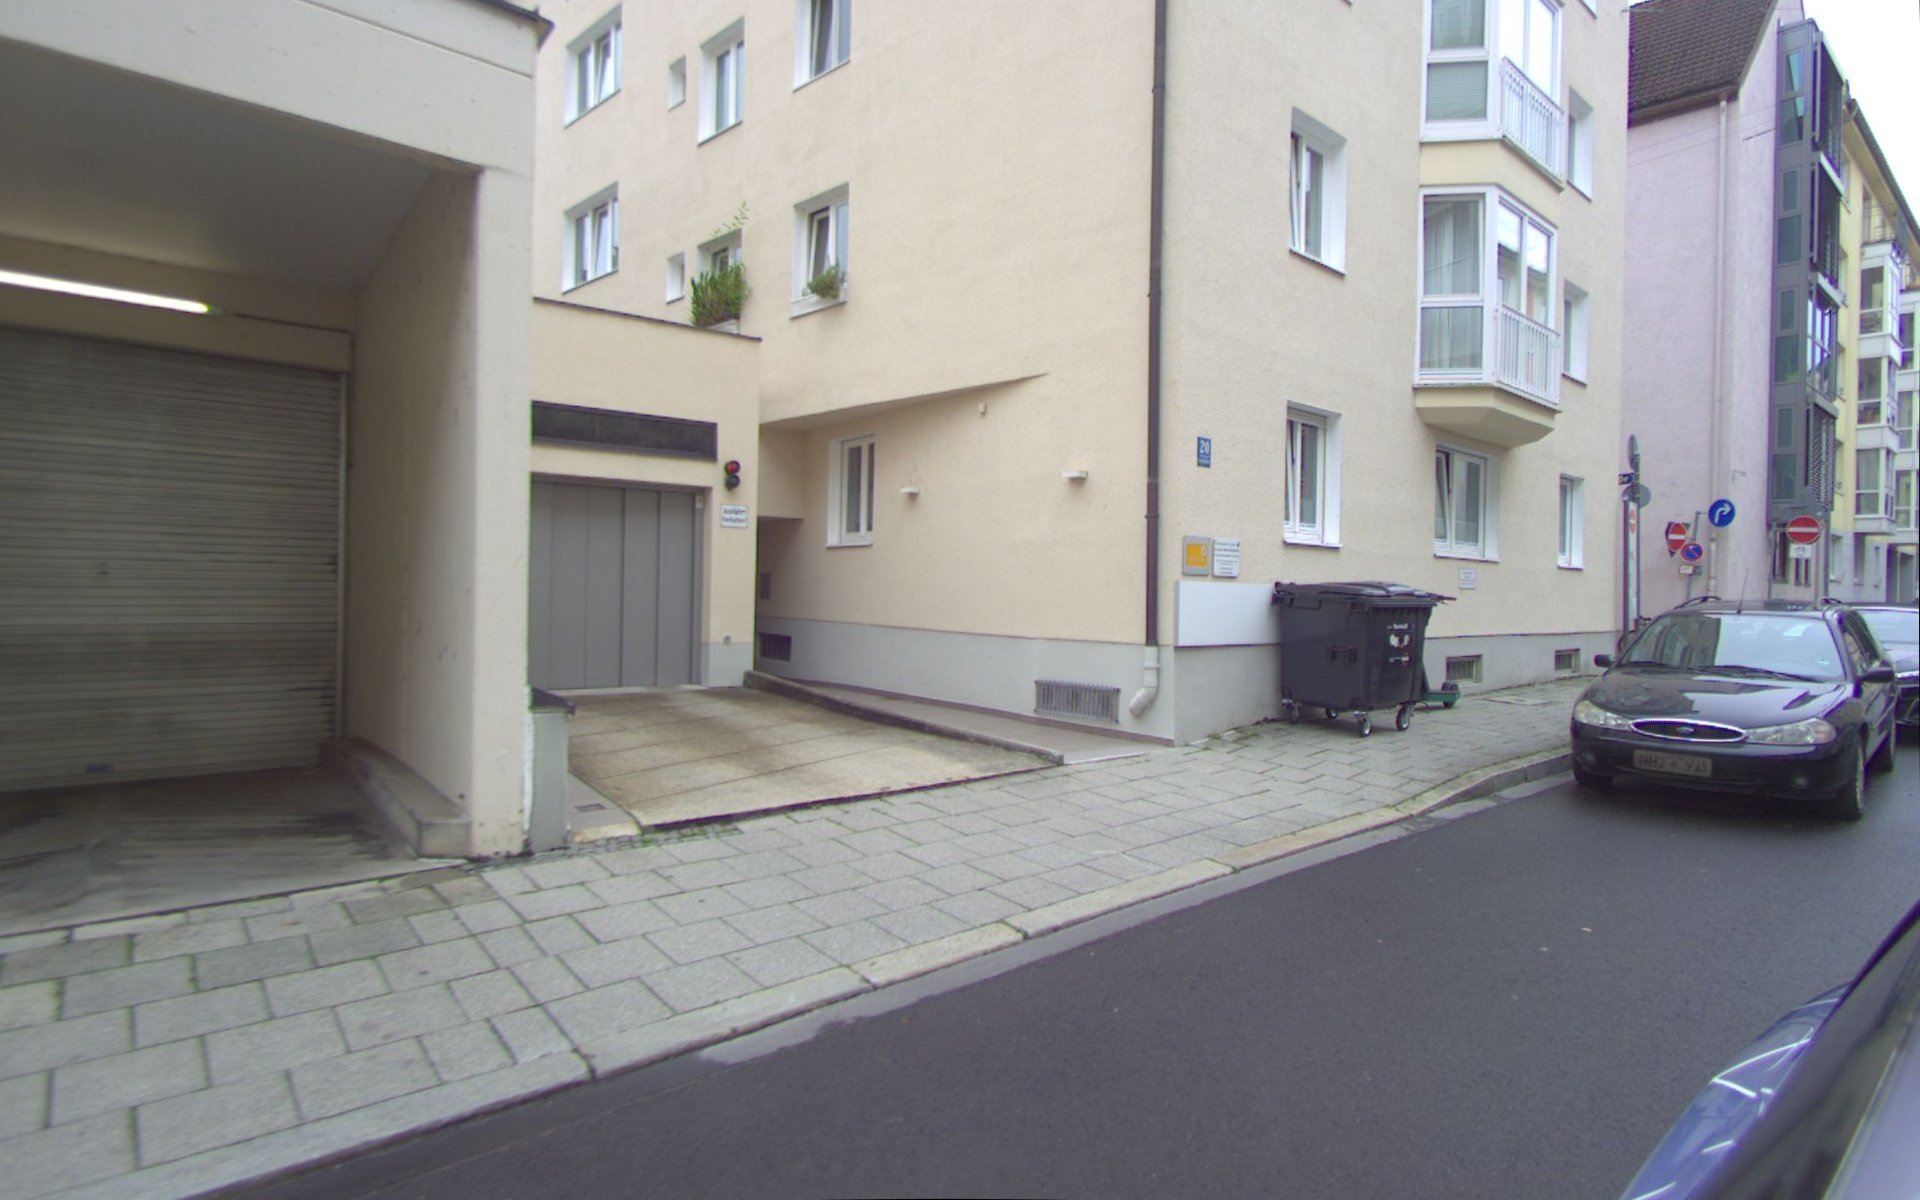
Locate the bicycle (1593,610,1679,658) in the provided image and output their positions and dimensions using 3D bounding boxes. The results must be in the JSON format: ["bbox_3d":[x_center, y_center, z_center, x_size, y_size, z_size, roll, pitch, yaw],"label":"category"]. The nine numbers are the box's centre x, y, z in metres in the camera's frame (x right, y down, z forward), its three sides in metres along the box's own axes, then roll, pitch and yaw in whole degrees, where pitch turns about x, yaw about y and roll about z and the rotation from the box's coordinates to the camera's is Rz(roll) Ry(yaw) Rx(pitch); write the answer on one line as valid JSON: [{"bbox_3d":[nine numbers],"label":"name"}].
[{"bbox_3d":[14.560,0.714,21.816,0.543,0.959,1.449,1,1,-44],"label":"bicycle"}]

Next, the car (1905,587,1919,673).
[{"bbox_3d":[20.517,0.566,20.335,4.335,1.642,1.835,0,0,-42],"label":"car"}]

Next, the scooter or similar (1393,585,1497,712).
[{"bbox_3d":[5.265,0.495,10.972,1.116,1.282,0.577,0,3,-41],"label":"scooter or similar"}]

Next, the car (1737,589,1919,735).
[{"bbox_3d":[10.715,0.593,11.760,4.334,1.424,1.836,0,0,-41],"label":"car"}]

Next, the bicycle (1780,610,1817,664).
[{"bbox_3d":[18.631,0.805,22.476,1.515,1.136,0.358,1,0,-40],"label":"bicycle"}]

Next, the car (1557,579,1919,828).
[{"bbox_3d":[6.523,0.604,8.238,4.456,1.490,1.718,0,0,-43],"label":"car"}]

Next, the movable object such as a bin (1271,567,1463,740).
[{"bbox_3d":[3.851,0.440,9.546,1.559,1.440,1.034,0,3,-41],"label":"movable object such as a bin"}]
